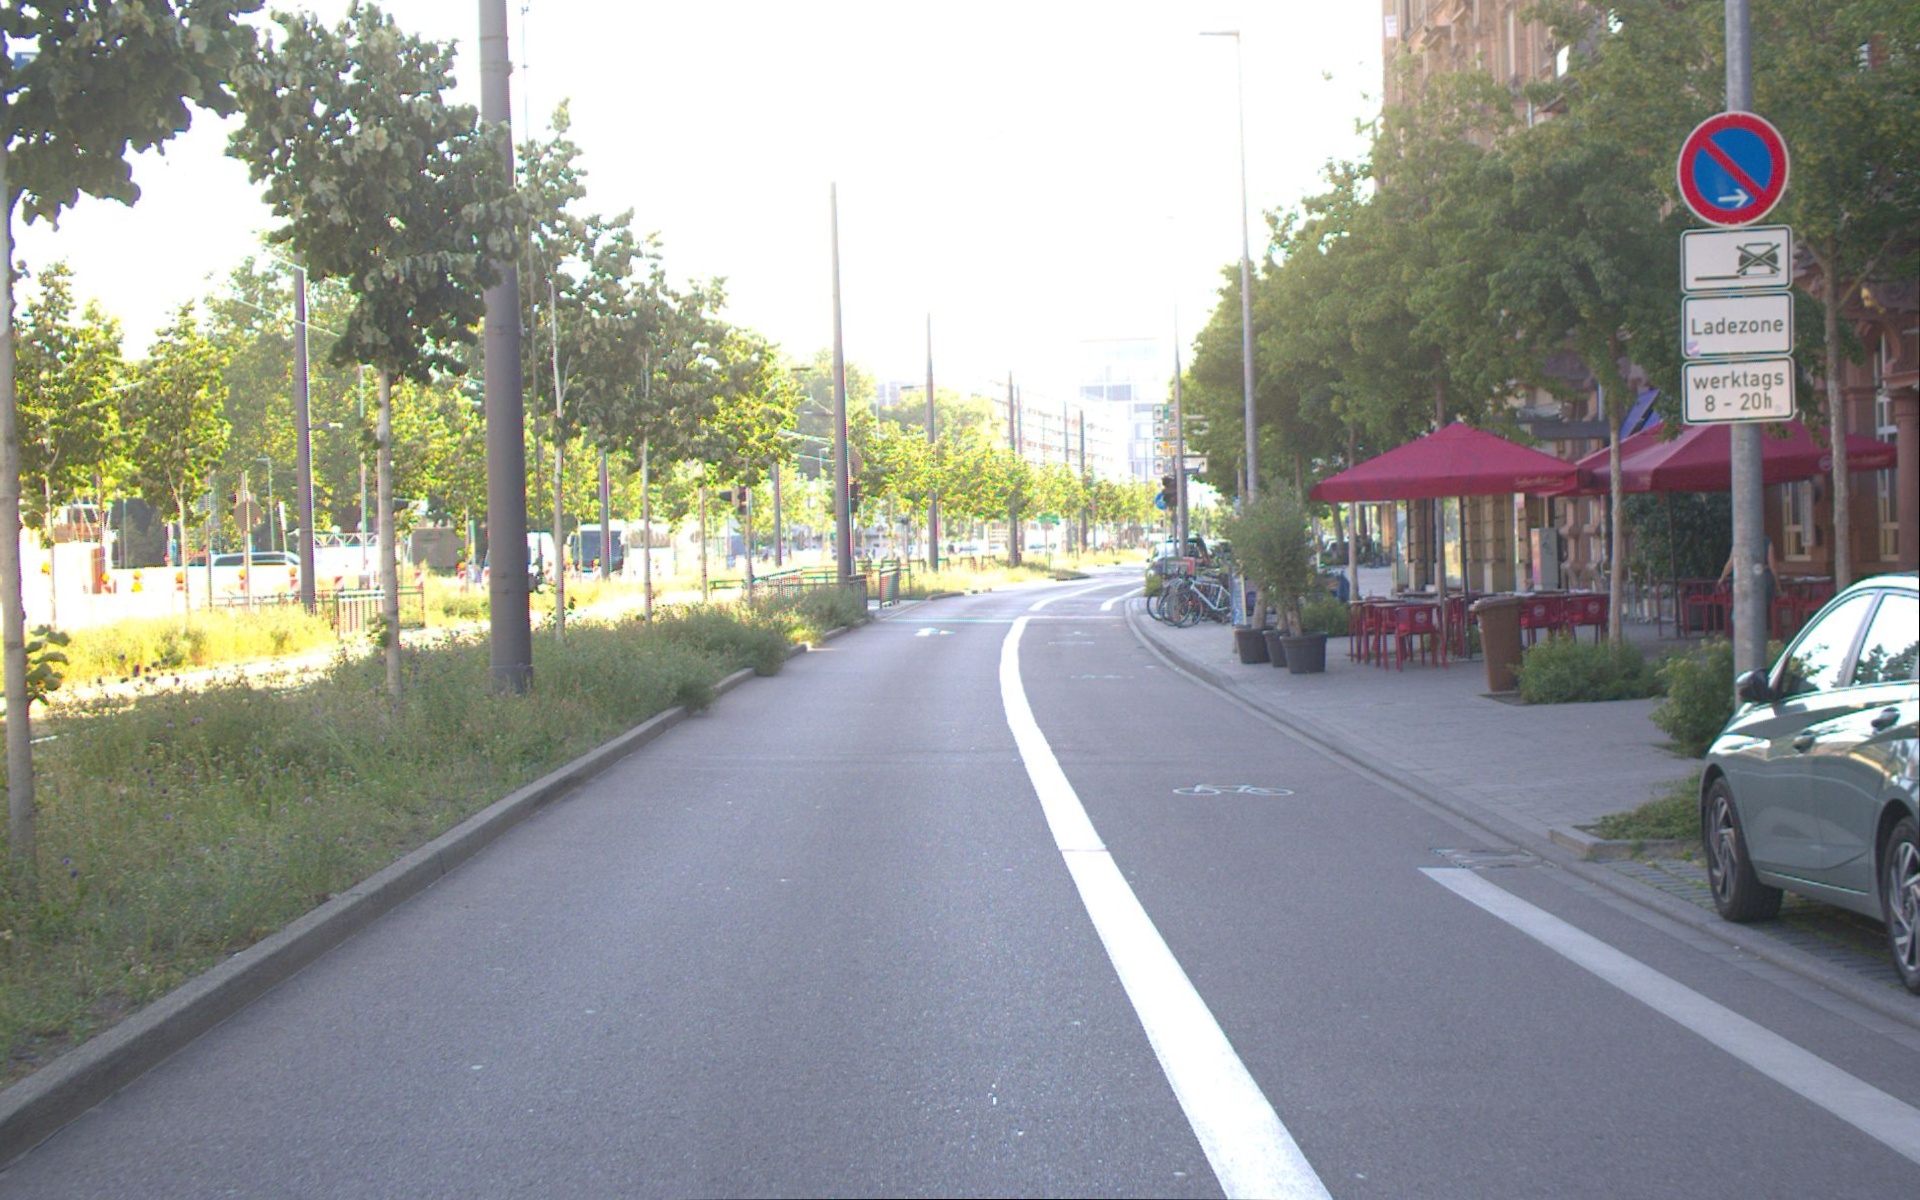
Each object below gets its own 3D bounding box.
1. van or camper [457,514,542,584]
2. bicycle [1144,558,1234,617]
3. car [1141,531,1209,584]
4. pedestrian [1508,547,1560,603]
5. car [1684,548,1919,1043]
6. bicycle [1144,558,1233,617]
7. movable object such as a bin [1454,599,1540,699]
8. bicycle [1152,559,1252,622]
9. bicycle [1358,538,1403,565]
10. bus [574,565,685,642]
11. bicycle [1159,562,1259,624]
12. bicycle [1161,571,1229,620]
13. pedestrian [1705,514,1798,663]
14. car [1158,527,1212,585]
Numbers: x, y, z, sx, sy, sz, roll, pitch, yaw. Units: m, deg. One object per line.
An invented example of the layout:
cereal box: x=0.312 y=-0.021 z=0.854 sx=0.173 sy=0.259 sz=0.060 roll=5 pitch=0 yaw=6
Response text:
van or camper: x=-17.856 y=-2.019 z=133.708 sx=2.221 sy=2.501 sz=7.201 roll=-3 pitch=1 yaw=0
bicycle: x=4.710 y=-0.261 z=70.729 sx=1.754 sy=1.100 sz=0.507 roll=-4 pitch=1 yaw=6
car: x=7.025 y=-1.393 z=112.683 sx=1.931 sy=1.593 sz=4.699 roll=-3 pitch=1 yaw=1
pedestrian: x=10.283 y=-0.451 z=61.611 sx=0.813 sy=0.959 sz=0.804 roll=-1 pitch=1 yaw=2
car: x=4.030 y=0.601 z=12.464 sx=1.849 sy=1.559 sz=4.297 roll=-3 pitch=1 yaw=0
bicycle: x=4.740 y=-0.263 z=71.320 sx=1.754 sy=1.100 sz=0.507 roll=-4 pitch=1 yaw=6
movable object such as a bin: x=5.266 y=0.474 z=33.700 sx=0.676 sy=0.921 sz=0.560 roll=-4 pitch=-1 yaw=20
bicycle: x=4.670 y=-0.182 z=66.351 sx=1.844 sy=1.101 sz=0.566 roll=-4 pitch=1 yaw=6
bicycle: x=18.347 y=-2.127 z=150.061 sx=1.899 sy=1.089 sz=0.392 roll=-2 pitch=1 yaw=2
bus: x=-16.618 y=0.118 z=173.989 sx=2.800 sy=3.582 sz=12.695 roll=-1 pitch=1 yaw=7
bicycle: x=4.695 y=-0.127 z=64.840 sx=1.805 sy=1.044 sz=0.566 roll=-4 pitch=1 yaw=6
bicycle: x=4.642 y=-0.086 z=68.005 sx=1.275 sy=0.874 sz=0.507 roll=-4 pitch=1 yaw=6
pedestrian: x=8.435 y=-0.125 z=36.657 sx=0.728 sy=1.528 sz=0.797 roll=-3 pitch=1 yaw=0
car: x=7.869 y=-1.560 z=120.031 sx=1.735 sy=1.912 sz=4.393 roll=-3 pitch=1 yaw=5
